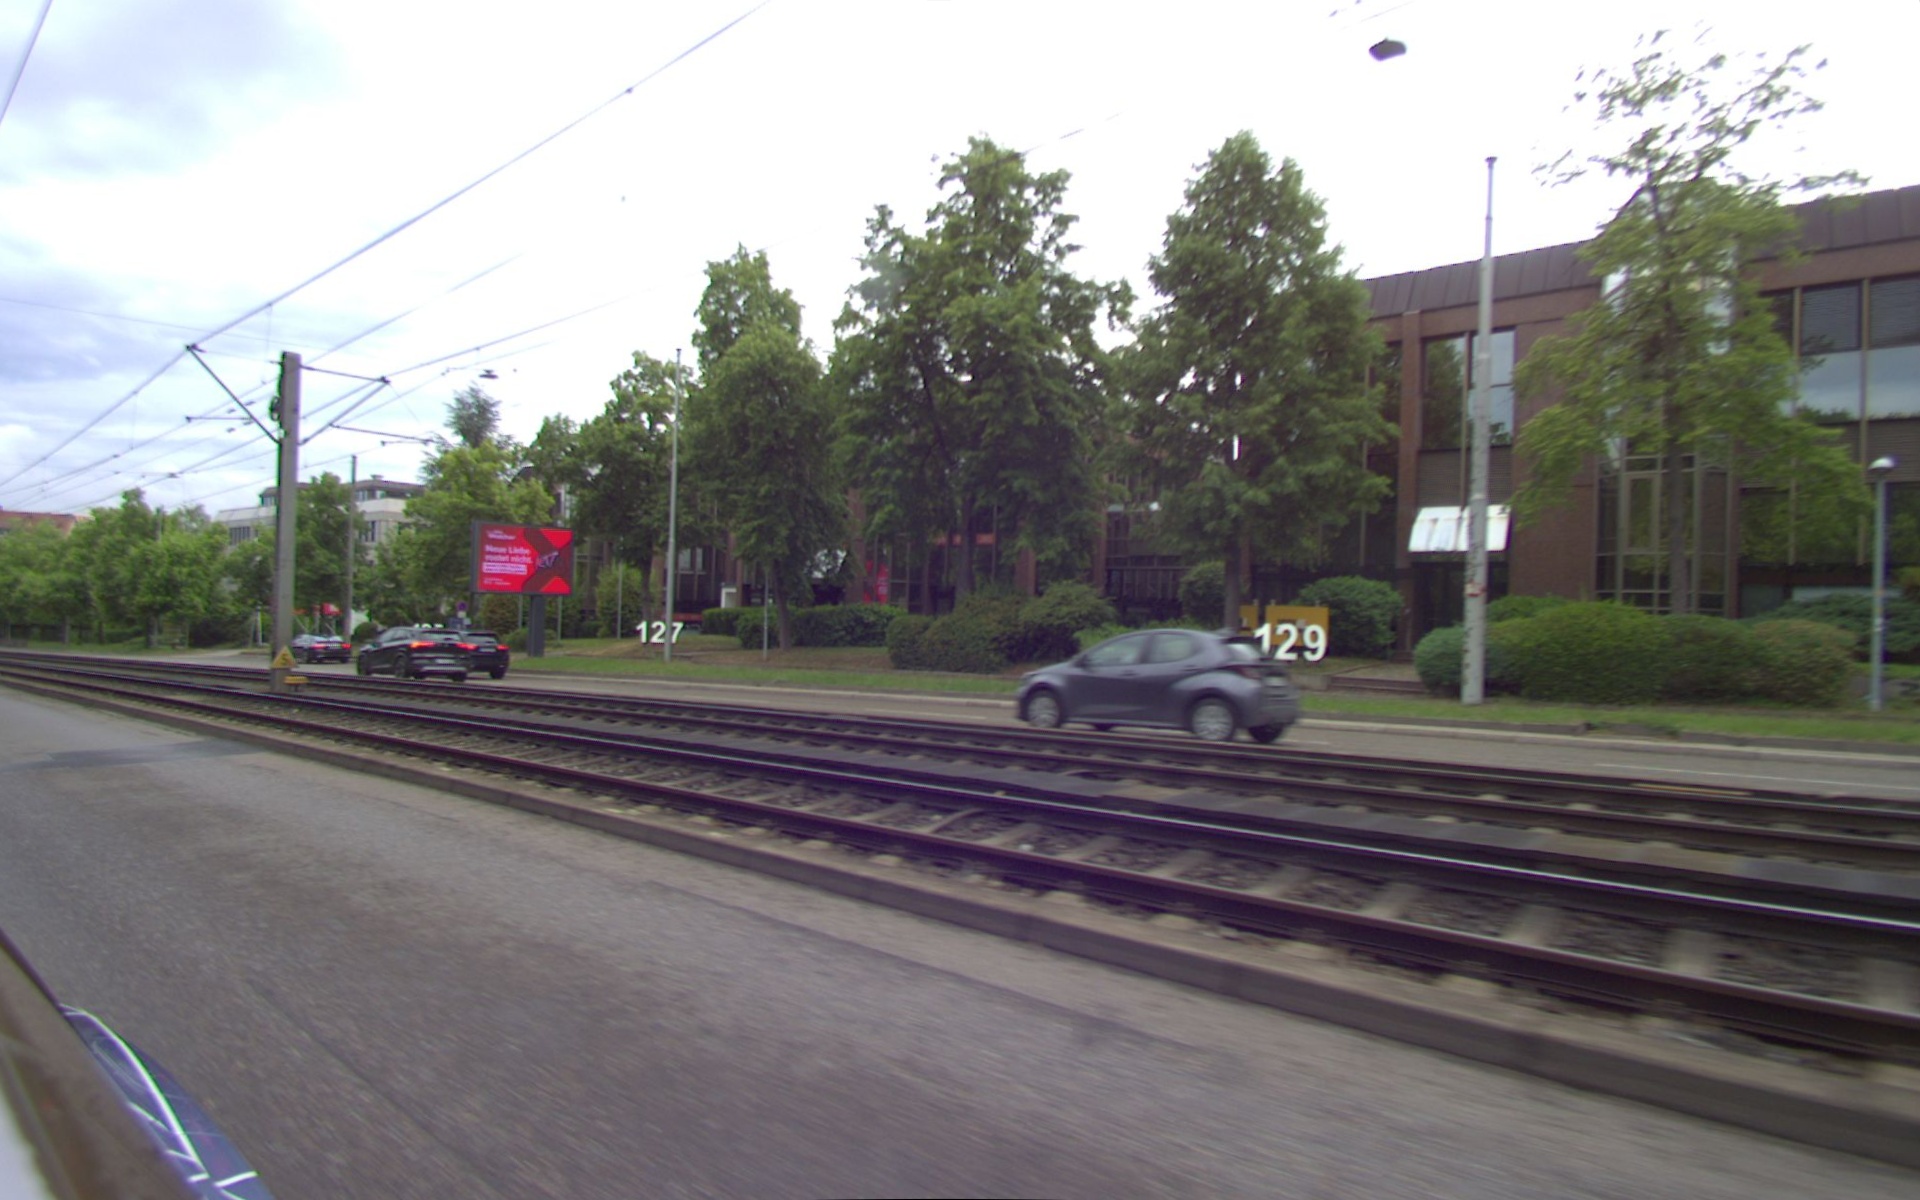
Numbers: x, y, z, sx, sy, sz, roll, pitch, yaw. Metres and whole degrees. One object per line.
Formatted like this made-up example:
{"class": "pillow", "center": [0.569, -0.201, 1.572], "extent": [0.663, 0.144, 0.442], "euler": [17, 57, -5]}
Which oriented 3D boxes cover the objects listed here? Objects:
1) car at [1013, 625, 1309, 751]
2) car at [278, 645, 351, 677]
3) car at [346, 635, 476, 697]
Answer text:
{"class": "car", "center": [2.643, 1.102, 13.729], "extent": [3.606, 1.472, 1.663], "euler": [-2, -3, 41]}
{"class": "car", "center": [-32.816, 3.076, 51.400], "extent": [4.616, 1.542, 1.777], "euler": [-2, -3, 39]}
{"class": "car", "center": [-15.856, 1.850, 29.154], "extent": [4.235, 1.669, 1.816], "euler": [-2, -3, 40]}
